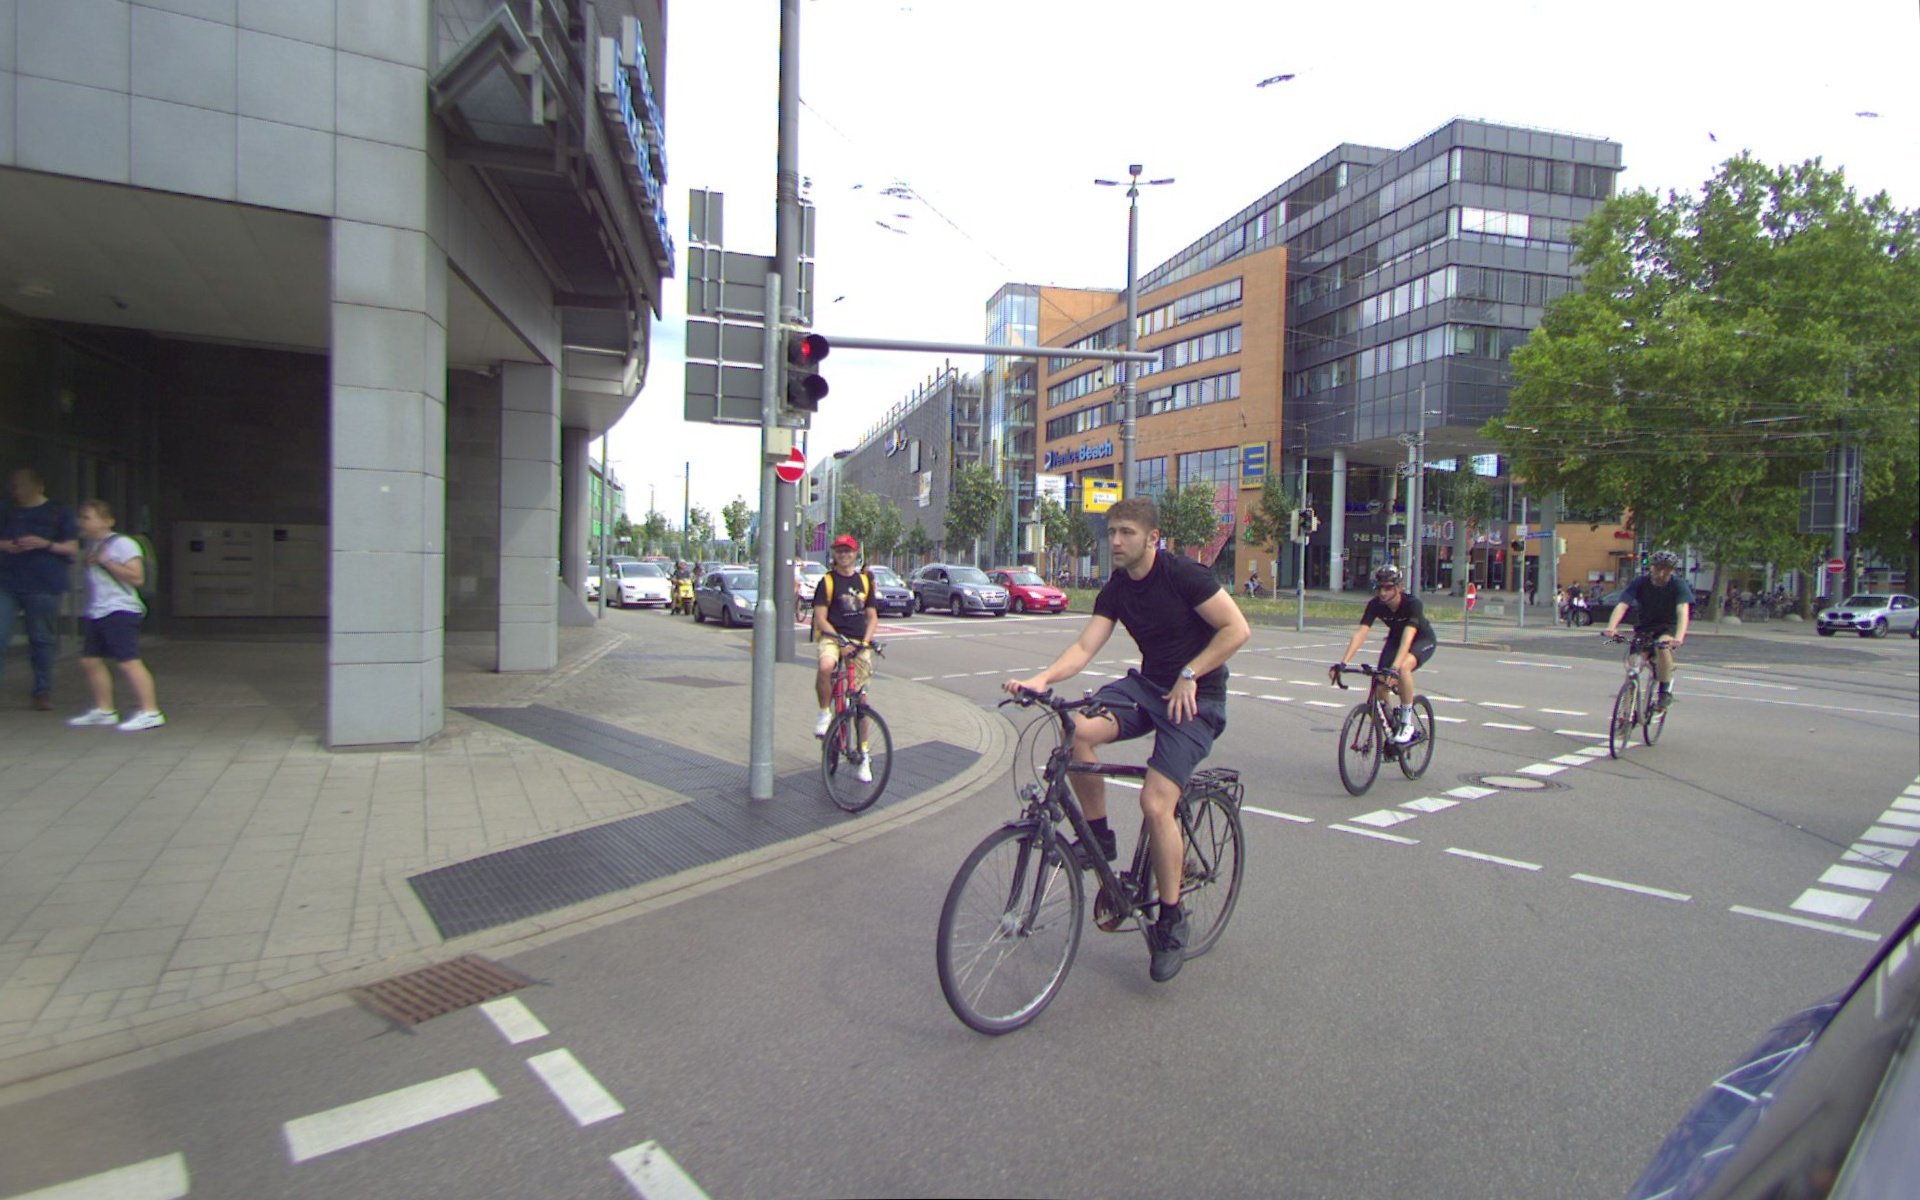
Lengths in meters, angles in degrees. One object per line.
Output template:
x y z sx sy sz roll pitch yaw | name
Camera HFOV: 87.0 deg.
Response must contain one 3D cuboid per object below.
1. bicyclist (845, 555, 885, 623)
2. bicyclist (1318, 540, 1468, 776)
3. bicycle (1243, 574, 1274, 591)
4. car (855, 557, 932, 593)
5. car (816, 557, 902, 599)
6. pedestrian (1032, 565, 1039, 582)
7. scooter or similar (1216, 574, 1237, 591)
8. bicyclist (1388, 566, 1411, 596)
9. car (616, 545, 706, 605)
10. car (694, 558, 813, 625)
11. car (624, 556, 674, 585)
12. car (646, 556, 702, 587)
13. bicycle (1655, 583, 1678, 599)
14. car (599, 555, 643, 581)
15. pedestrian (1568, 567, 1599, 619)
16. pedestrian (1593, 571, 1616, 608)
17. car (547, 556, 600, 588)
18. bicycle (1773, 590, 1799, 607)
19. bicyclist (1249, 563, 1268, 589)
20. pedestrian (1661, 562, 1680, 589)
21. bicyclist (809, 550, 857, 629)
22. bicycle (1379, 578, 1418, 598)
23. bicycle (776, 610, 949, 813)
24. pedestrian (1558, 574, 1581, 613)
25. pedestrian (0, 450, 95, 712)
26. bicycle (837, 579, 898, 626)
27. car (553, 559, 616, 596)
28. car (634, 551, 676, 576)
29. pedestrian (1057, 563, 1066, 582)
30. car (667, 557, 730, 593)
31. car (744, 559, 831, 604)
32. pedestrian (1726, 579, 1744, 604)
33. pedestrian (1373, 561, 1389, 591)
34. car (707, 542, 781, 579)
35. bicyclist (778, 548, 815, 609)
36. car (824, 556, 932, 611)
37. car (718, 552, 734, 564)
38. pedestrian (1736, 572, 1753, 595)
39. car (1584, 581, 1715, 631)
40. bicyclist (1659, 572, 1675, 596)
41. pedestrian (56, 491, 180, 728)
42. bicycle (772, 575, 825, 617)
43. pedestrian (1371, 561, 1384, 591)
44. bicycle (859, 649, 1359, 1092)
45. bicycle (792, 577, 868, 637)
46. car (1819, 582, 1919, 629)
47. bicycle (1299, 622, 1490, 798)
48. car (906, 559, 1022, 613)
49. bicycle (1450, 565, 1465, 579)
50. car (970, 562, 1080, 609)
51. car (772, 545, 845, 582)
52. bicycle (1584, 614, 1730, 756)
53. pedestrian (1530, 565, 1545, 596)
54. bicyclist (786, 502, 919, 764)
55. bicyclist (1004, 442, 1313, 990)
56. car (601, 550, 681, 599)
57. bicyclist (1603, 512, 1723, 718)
-2.406 -0.294 25.666 0.662 1.686 0.982 -2 3 -29 | bicyclist
3.304 0.398 7.713 1.016 1.674 0.591 0 2 -39 | bicyclist
19.152 -1.126 64.971 0.625 1.023 2.007 0 3 -32 | bicycle
-2.972 -1.146 44.623 1.787 1.450 4.005 -2 3 -31 | car
-3.944 -0.878 39.008 1.787 1.478 4.005 -2 3 -31 | car
6.943 -2.441 93.077 0.475 1.619 0.448 0 2 -15 | pedestrian
18.504 -1.230 70.301 0.476 1.181 1.478 0 3 -27 | scooter or similar
24.720 -1.086 56.947 0.625 1.636 0.979 1 2 -32 | bicyclist
-9.558 -0.847 32.156 1.787 1.783 4.005 0 3 -31 | car
-5.428 -0.304 26.260 1.787 1.551 4.005 -2 3 -31 | car
-17.583 -1.680 57.132 1.787 1.551 4.005 -2 3 -31 | car
-14.661 -1.503 51.724 1.754 1.478 4.005 -2 3 -31 | car
43.982 -0.574 63.029 1.510 0.928 0.537 0 2 -29 | bicycle
-21.237 -2.029 63.323 1.787 1.551 4.005 -2 3 -31 | car
22.088 -0.252 35.862 0.657 1.813 0.678 0 2 -37 | pedestrian
30.602 -0.510 48.066 0.729 1.753 0.588 1 2 -31 | pedestrian
-18.966 -1.420 49.570 1.754 1.478 4.005 -2 3 -31 | car
46.166 -0.098 56.571 1.688 0.928 0.537 0 2 -29 | bicycle
19.166 -1.551 64.965 0.625 1.635 0.979 0 3 -32 | bicyclist
46.714 -1.617 66.557 0.730 1.753 0.587 1 2 4 | pedestrian
-2.816 -0.249 22.547 0.652 1.694 1.029 1 3 20 | bicyclist
24.680 -0.673 56.995 0.625 1.023 2.007 1 3 -32 | bicycle
-0.770 0.705 7.305 0.711 1.152 1.909 1 2 -22 | bicycle
27.041 -0.288 44.902 0.729 1.671 0.588 0 2 -31 | pedestrian
-7.548 -0.152 8.187 0.662 2.039 0.604 4 0 -33 | pedestrian
-2.368 0.040 25.604 0.670 1.069 2.209 -2 4 -29 | bicycle
-16.046 -0.995 43.129 1.787 1.478 4.005 -2 3 -31 | car
-21.248 -2.587 70.358 1.787 1.687 4.416 -2 3 -31 | car
8.808 -2.372 87.960 0.603 1.619 0.448 0 2 -15 | pedestrian
-12.290 -1.203 47.341 1.787 1.551 4.005 -2 3 -31 | car
-6.339 -0.729 36.895 1.787 1.478 4.005 -2 3 -31 | car
48.254 -0.537 63.008 0.668 1.529 0.589 -1 3 -28 | pedestrian
26.994 -1.510 64.843 0.613 1.889 0.675 1 2 -13 | pedestrian
-9.057 -1.683 42.197 1.787 1.478 4.005 -2 3 -31 | car
-4.623 -0.633 28.579 0.730 1.686 0.982 -2 3 -29 | bicyclist
-2.667 -0.564 31.900 1.787 1.551 4.005 0 3 -31 | car
-32.631 -5.903 141.245 1.729 1.639 4.006 1 3 -6 | car
53.195 -1.097 68.651 0.668 1.529 0.589 0 2 -15 | pedestrian
27.165 0.195 39.917 4.157 1.760 1.939 2 2 37 | car
44.021 -1.017 63.033 0.723 1.450 0.532 0 2 -29 | bicyclist
-6.506 0.057 7.829 0.490 1.748 0.551 3 1 26 | pedestrian
-4.580 -0.141 28.532 0.735 1.069 2.225 -2 3 -29 | bicycle
26.504 -1.543 64.283 0.535 1.889 0.515 2 2 -6 | pedestrian
0.656 0.821 3.779 2.053 1.152 0.595 0 3 -40 | bicycle
-2.848 0.118 22.461 0.653 1.152 2.426 1 4 19 | bicycle
34.661 0.168 37.934 4.542 1.682 1.969 0 1 -24 | car
3.366 0.778 7.777 1.703 1.152 0.595 0 3 -40 | bicycle
0.062 -0.522 32.407 1.787 1.551 4.225 -2 3 -31 | car
33.583 -1.904 68.374 0.528 0.928 1.558 1 2 13 | bicycle
2.134 -0.546 34.488 1.787 1.450 4.005 -2 3 -31 | car
-6.677 -1.640 44.263 1.787 1.551 4.005 -2 3 -31 | car
6.488 0.734 9.386 1.825 1.152 0.595 0 3 -40 | bicycle
35.533 -1.206 62.260 0.504 1.889 0.547 1 2 -12 | pedestrian
-0.815 0.208 7.443 0.704 1.786 0.918 1 2 -22 | bicyclist
0.765 0.368 3.849 1.016 1.789 0.591 0 2 -39 | bicyclist
-11.549 -0.962 36.471 1.787 1.640 4.173 0 3 -31 | car
6.515 0.115 9.371 1.016 1.792 0.591 0 2 -39 | bicyclist
